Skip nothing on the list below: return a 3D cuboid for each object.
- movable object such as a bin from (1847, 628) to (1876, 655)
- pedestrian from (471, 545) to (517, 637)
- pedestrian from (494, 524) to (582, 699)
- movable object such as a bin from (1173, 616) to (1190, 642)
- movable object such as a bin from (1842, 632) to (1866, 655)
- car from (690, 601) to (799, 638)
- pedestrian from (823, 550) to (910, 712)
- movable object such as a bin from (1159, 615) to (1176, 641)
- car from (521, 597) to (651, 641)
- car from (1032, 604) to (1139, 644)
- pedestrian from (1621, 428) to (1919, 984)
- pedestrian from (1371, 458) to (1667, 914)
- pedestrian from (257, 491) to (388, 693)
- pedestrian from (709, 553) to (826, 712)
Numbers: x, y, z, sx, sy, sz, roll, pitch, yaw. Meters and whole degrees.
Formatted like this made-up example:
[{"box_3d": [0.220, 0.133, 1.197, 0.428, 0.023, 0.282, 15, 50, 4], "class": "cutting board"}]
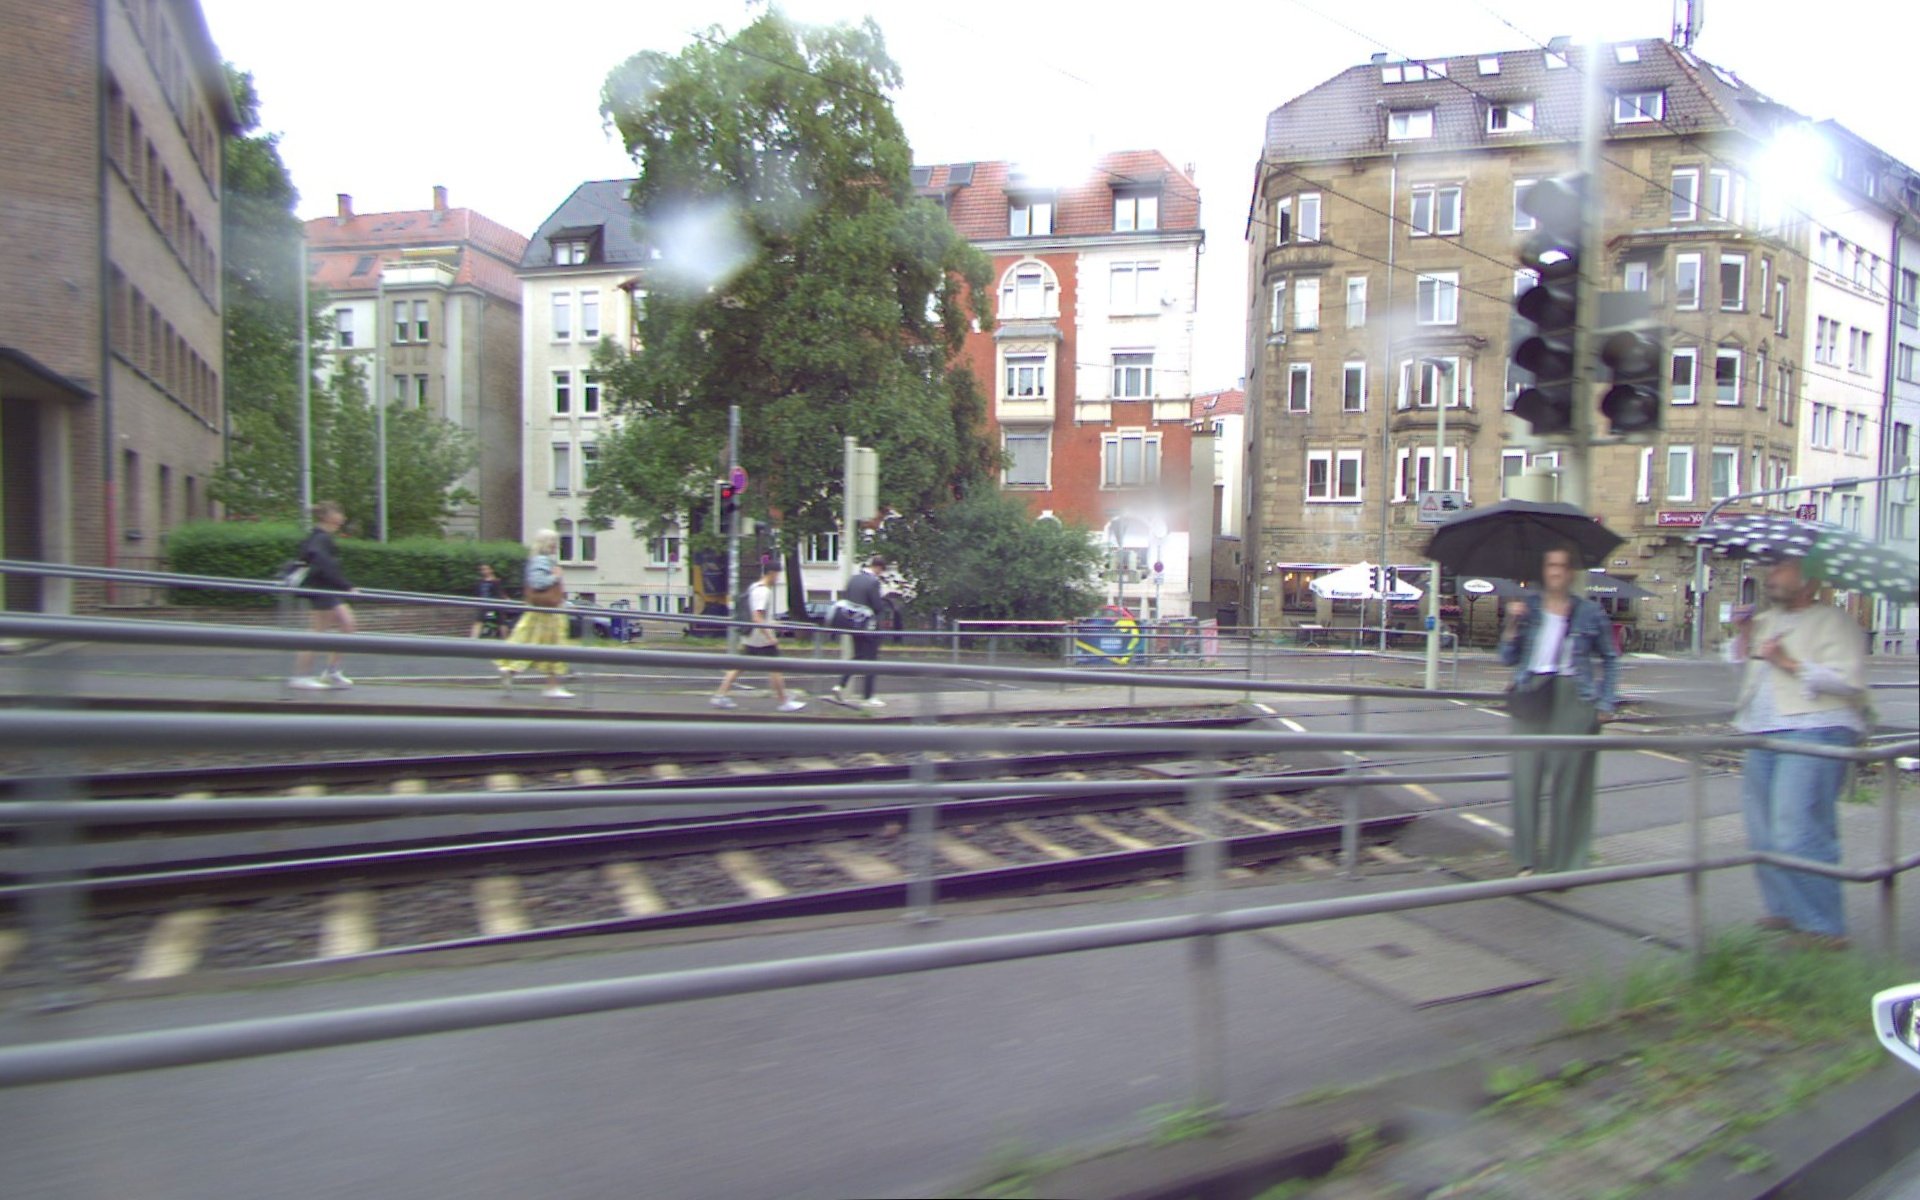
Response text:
[{"box_3d": [39.732, 1.825, 44.285, 0.679, 1.088, 0.709, 2, 4, -31], "class": "movable object such as a bin"}, {"box_3d": [-8.776, -0.161, 18.922, 0.681, 1.697, 0.600, 1, -1, -33], "class": "pedestrian"}, {"box_3d": [-4.254, 0.112, 10.116, 0.633, 1.669, 0.740, 4, 0, -30], "class": "pedestrian"}, {"box_3d": [9.056, 1.172, 41.044, 0.540, 1.056, 0.722, 1, 0, 1], "class": "movable object such as a bin"}, {"box_3d": [39.146, 1.893, 43.994, 0.553, 0.923, 0.590, 2, 4, -31], "class": "movable object such as a bin"}, {"box_3d": [-8.921, 0.796, 41.720, 4.059, 1.421, 1.743, 1, -1, 12], "class": "car"}, {"box_3d": [-1.106, 0.368, 11.881, 0.790, 1.842, 0.508, 3, 0, -30], "class": "pedestrian"}, {"box_3d": [8.474, 1.146, 41.056, 0.540, 1.056, 0.722, 1, 0, 1], "class": "movable object such as a bin"}, {"box_3d": [-13.132, 0.670, 35.324, 3.919, 1.421, 1.743, 1, -1, 12], "class": "car"}, {"box_3d": [4.849, 0.917, 38.695, 3.919, 1.421, 1.743, 1, -1, 12], "class": "car"}, {"box_3d": [3.621, 0.391, 4.314, 0.936, 2.040, 0.921, 1, 1, -30], "class": "pedestrian"}, {"box_3d": [2.817, 0.388, 5.106, 0.936, 2.040, 0.892, 1, 1, -30], "class": "pedestrian"}, {"box_3d": [-5.778, -0.059, 9.161, 0.873, 1.718, 0.740, 4, 0, -31], "class": "pedestrian"}, {"box_3d": [-2.040, 0.342, 10.647, 0.945, 1.604, 0.689, 4, 0, -30], "class": "pedestrian"}]
